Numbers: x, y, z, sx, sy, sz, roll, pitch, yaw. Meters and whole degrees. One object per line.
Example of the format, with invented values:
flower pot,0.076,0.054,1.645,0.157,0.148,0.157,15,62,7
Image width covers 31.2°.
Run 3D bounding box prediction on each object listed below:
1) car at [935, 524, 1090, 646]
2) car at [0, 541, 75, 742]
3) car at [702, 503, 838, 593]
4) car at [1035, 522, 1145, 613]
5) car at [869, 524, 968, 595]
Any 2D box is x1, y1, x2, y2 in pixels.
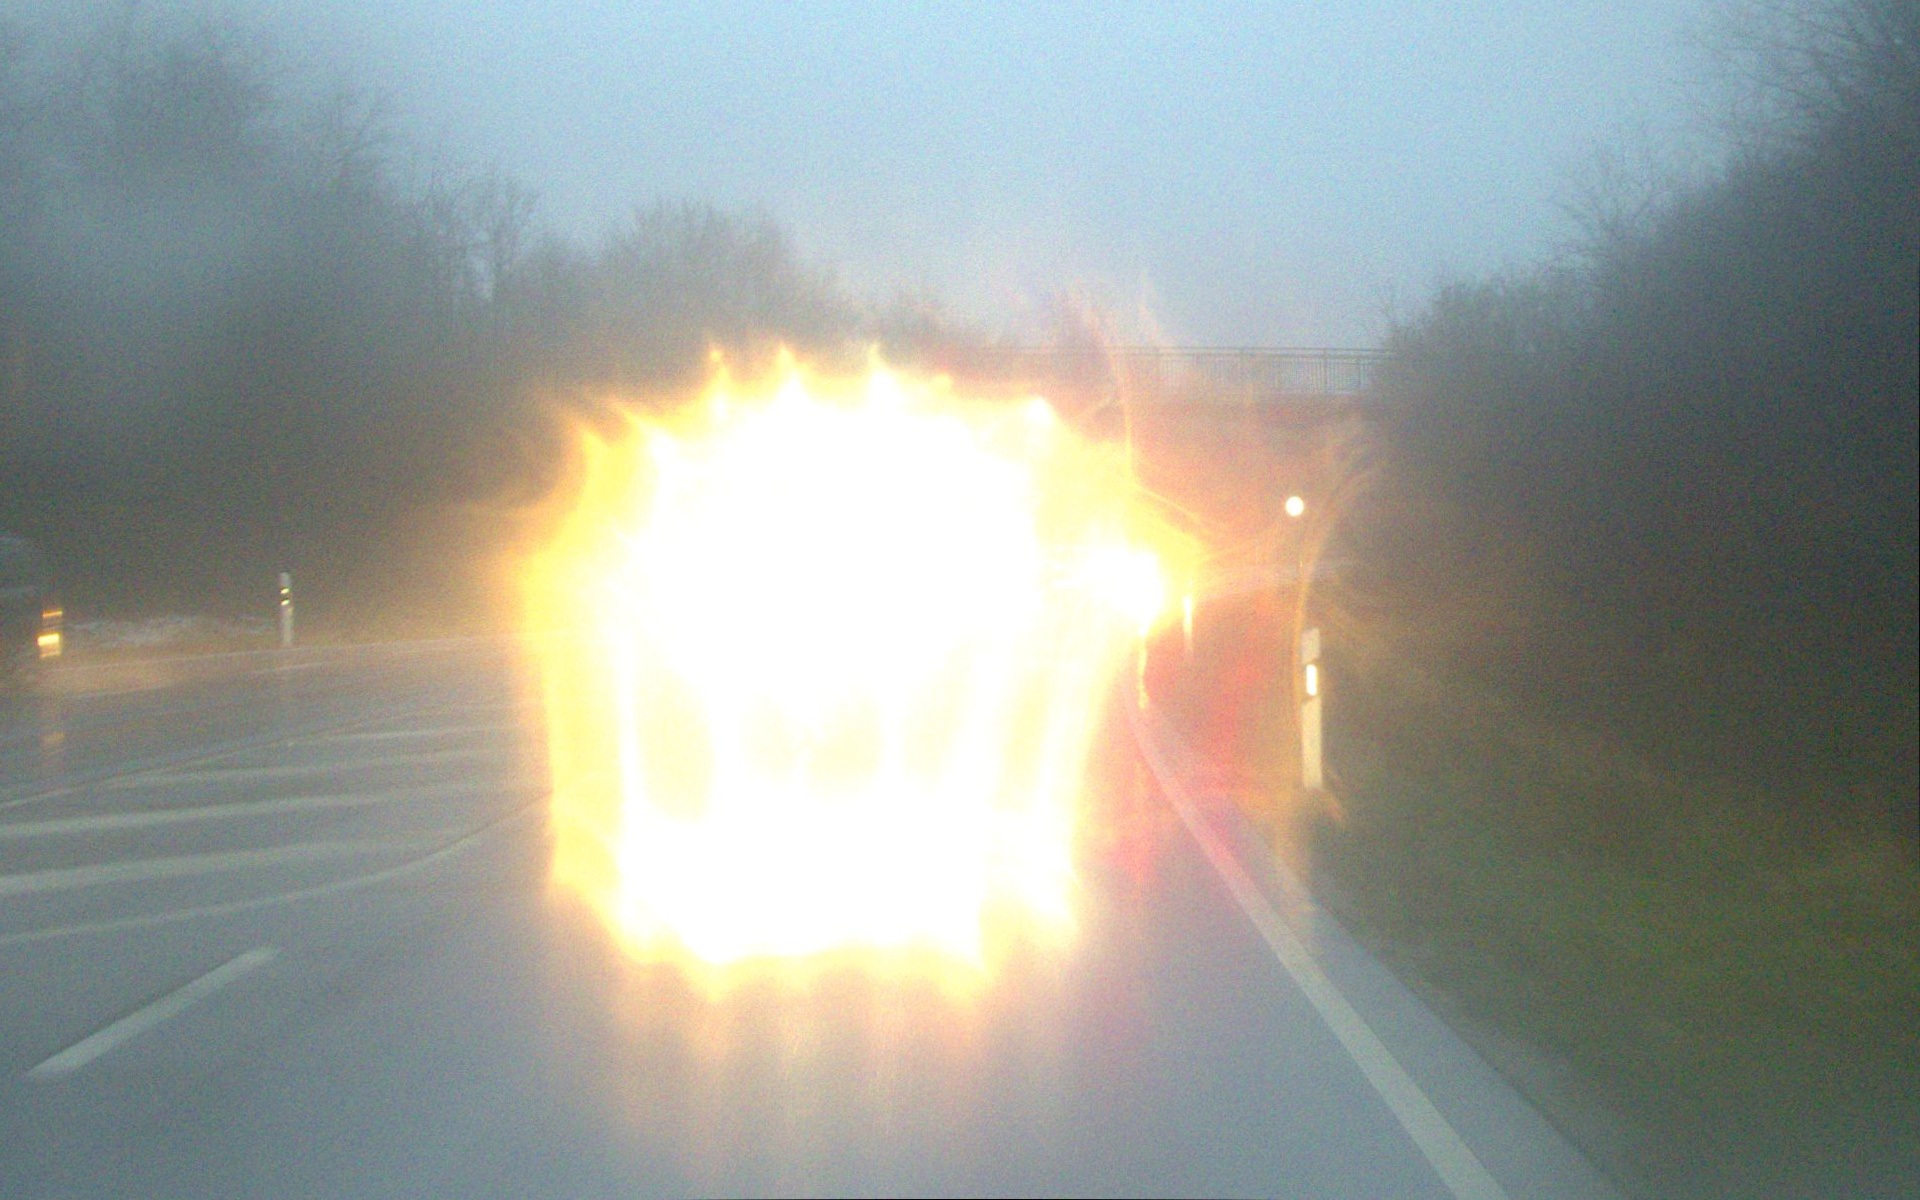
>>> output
car,0.687,-0.219,42.049,1.679,1.385,4.098,-1,1,4
car,-10.523,0.399,33.029,1.839,1.963,4.354,1,1,18
car,-3.497,-0.992,64.043,1.824,1.518,4.298,-1,2,6
car,2.532,-0.653,66.203,1.679,1.669,4.097,-1,1,8
car,-0.974,-1.013,83.700,1.903,1.642,4.726,0,1,5
